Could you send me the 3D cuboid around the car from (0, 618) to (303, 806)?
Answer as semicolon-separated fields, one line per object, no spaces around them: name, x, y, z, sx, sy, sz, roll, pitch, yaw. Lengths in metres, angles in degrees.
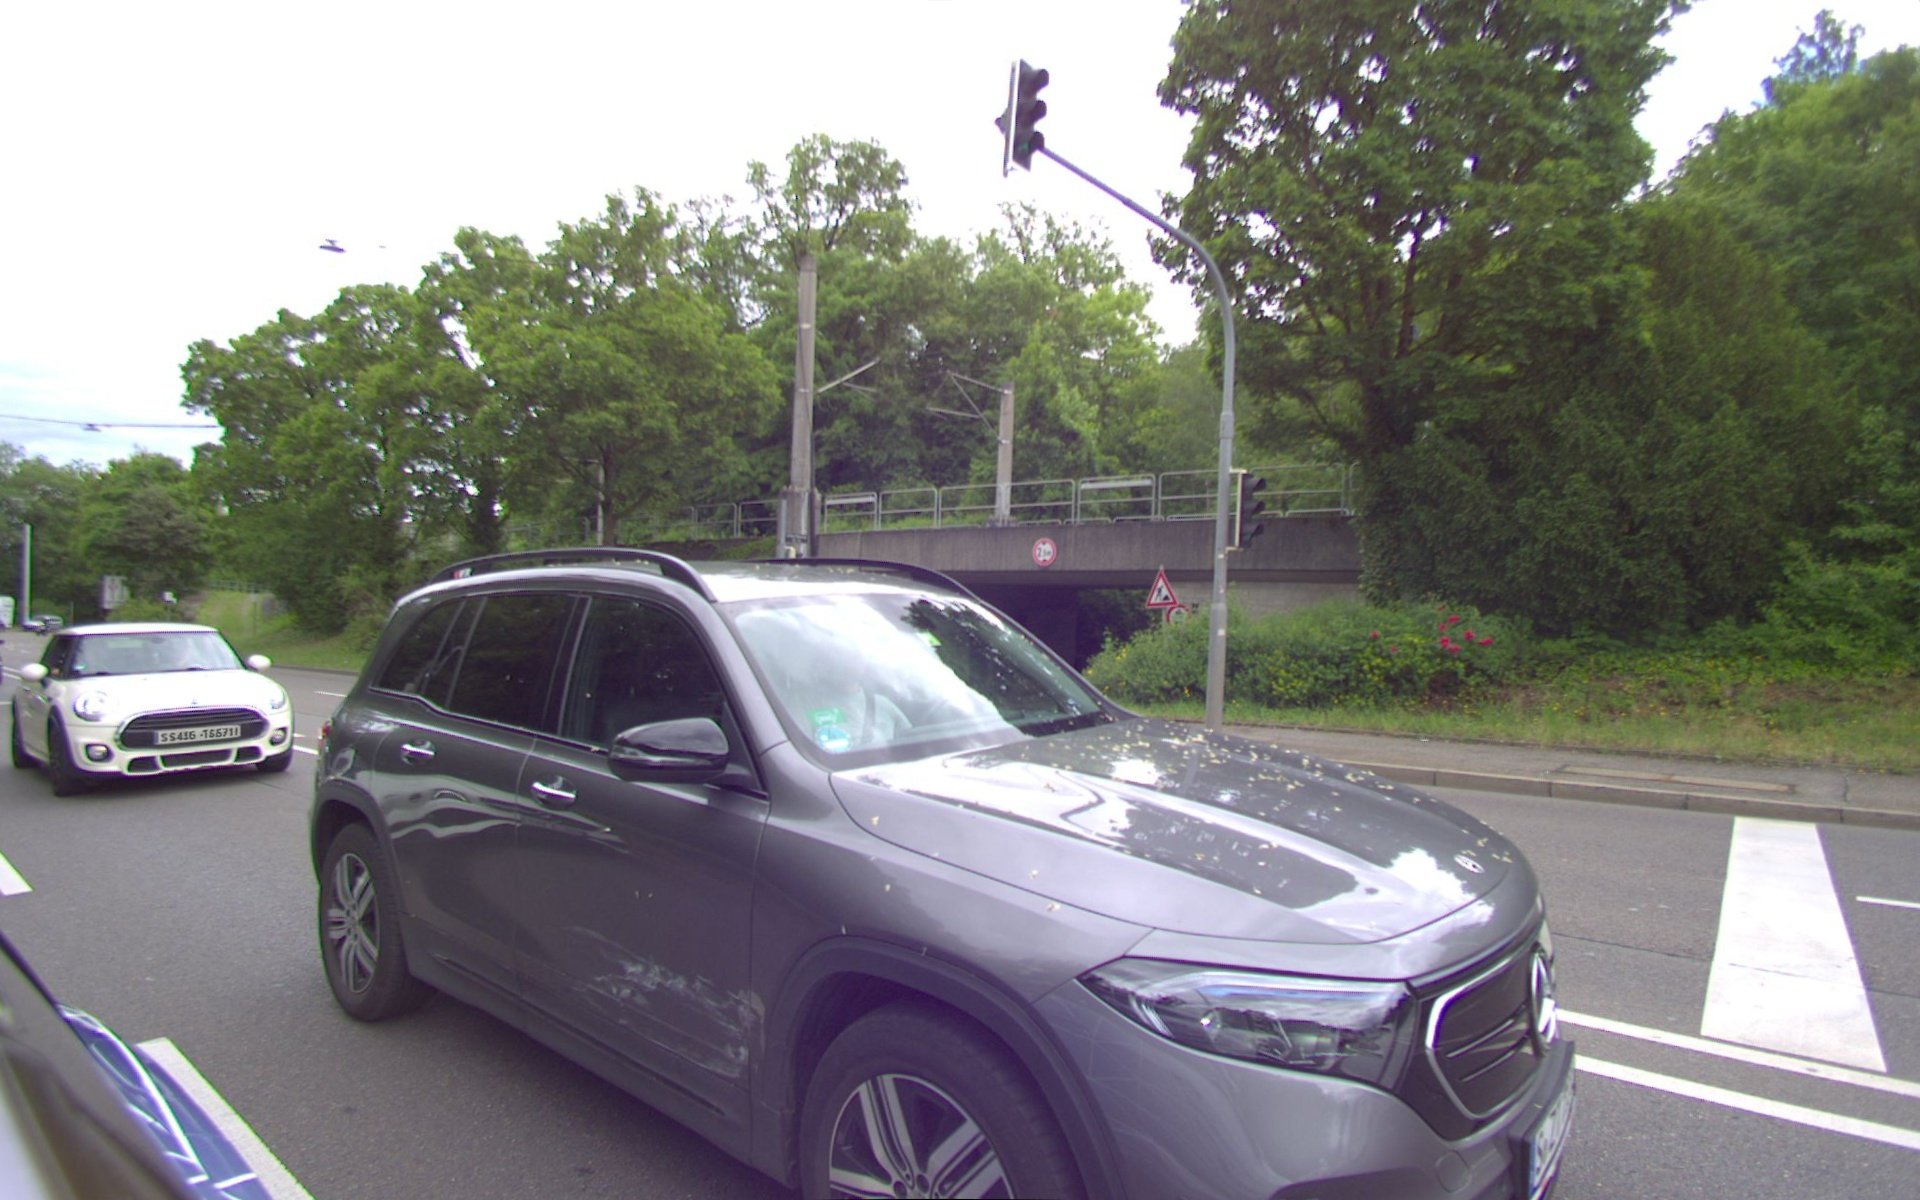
car;-7.820;0.900;9.635;3.731;1.434;1.667;-1;-1;41

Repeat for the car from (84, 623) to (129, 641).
car;-84.293;3.209;99.990;1.823;1.664;4.371;2;-3;-18

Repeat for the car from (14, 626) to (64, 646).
car;-81.334;3.212;89.432;1.823;1.664;4.371;2;-3;-22

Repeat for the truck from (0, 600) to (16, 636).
truck;-86.747;1.489;89.305;2.164;3.180;6.670;2;-3;-17

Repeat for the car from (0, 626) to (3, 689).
car;-23.452;1.303;23.239;4.179;1.401;1.643;-1;-1;40

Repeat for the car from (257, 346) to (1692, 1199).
car;-0.444;0.594;3.199;4.353;1.664;1.831;-1;-1;40

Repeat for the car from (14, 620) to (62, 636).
car;-89.623;2.779;98.427;1.727;1.372;4.021;4;-4;-16
